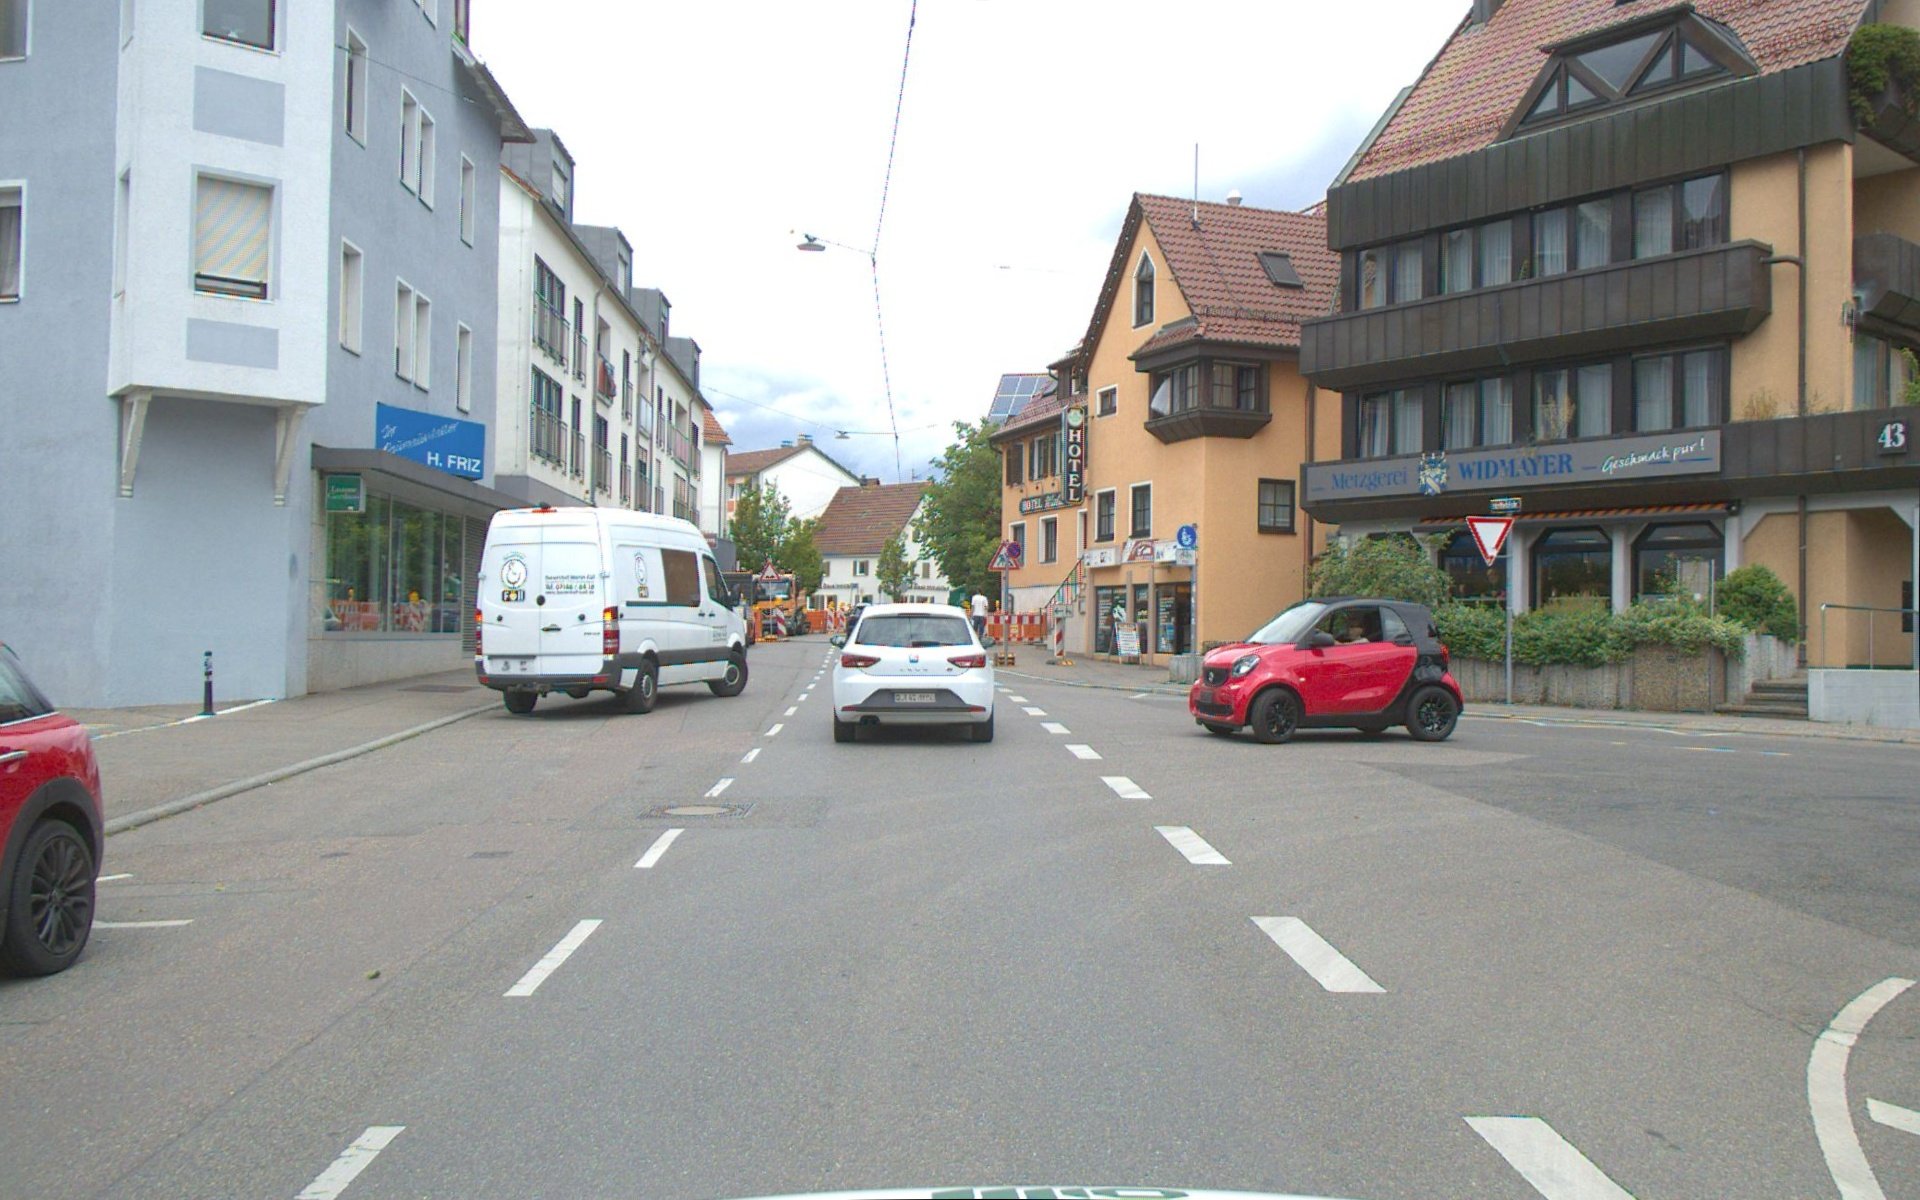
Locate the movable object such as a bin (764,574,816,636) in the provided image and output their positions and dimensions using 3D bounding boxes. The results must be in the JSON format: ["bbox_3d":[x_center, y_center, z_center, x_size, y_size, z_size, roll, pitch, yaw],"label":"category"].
[{"bbox_3d":[-7.977,0.274,78.041,1.801,2.812,4.506,0,-2,2],"label":"movable object such as a bin"}]

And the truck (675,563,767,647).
[{"bbox_3d":[-7.471,0.134,52.326,2.365,2.509,6.303,0,0,-3],"label":"truck"}]

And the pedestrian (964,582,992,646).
[{"bbox_3d":[0.565,0.430,52.023,0.782,1.984,0.835,0,0,-6],"label":"pedestrian"}]

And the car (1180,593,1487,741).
[{"bbox_3d":[4.121,0.706,18.493,2.878,1.547,1.815,0,0,-12],"label":"car"}]

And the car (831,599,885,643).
[{"bbox_3d":[-3.653,0.723,58.550,1.776,1.506,3.866,0,0,-6],"label":"car"}]

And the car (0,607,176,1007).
[{"bbox_3d":[-4.562,0.830,5.519,1.821,1.500,4.351,-2,0,-1],"label":"car"}]

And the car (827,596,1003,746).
[{"bbox_3d":[-0.498,0.718,18.627,1.775,1.506,3.869,0,0,-1],"label":"car"}]

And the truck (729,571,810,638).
[{"bbox_3d":[-8.212,0.197,71.902,2.675,2.772,6.847,0,0,0],"label":"truck"}]

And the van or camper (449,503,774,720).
[{"bbox_3d":[-4.678,0.138,23.516,2.269,2.653,6.213,0,0,11],"label":"van or camper"}]
